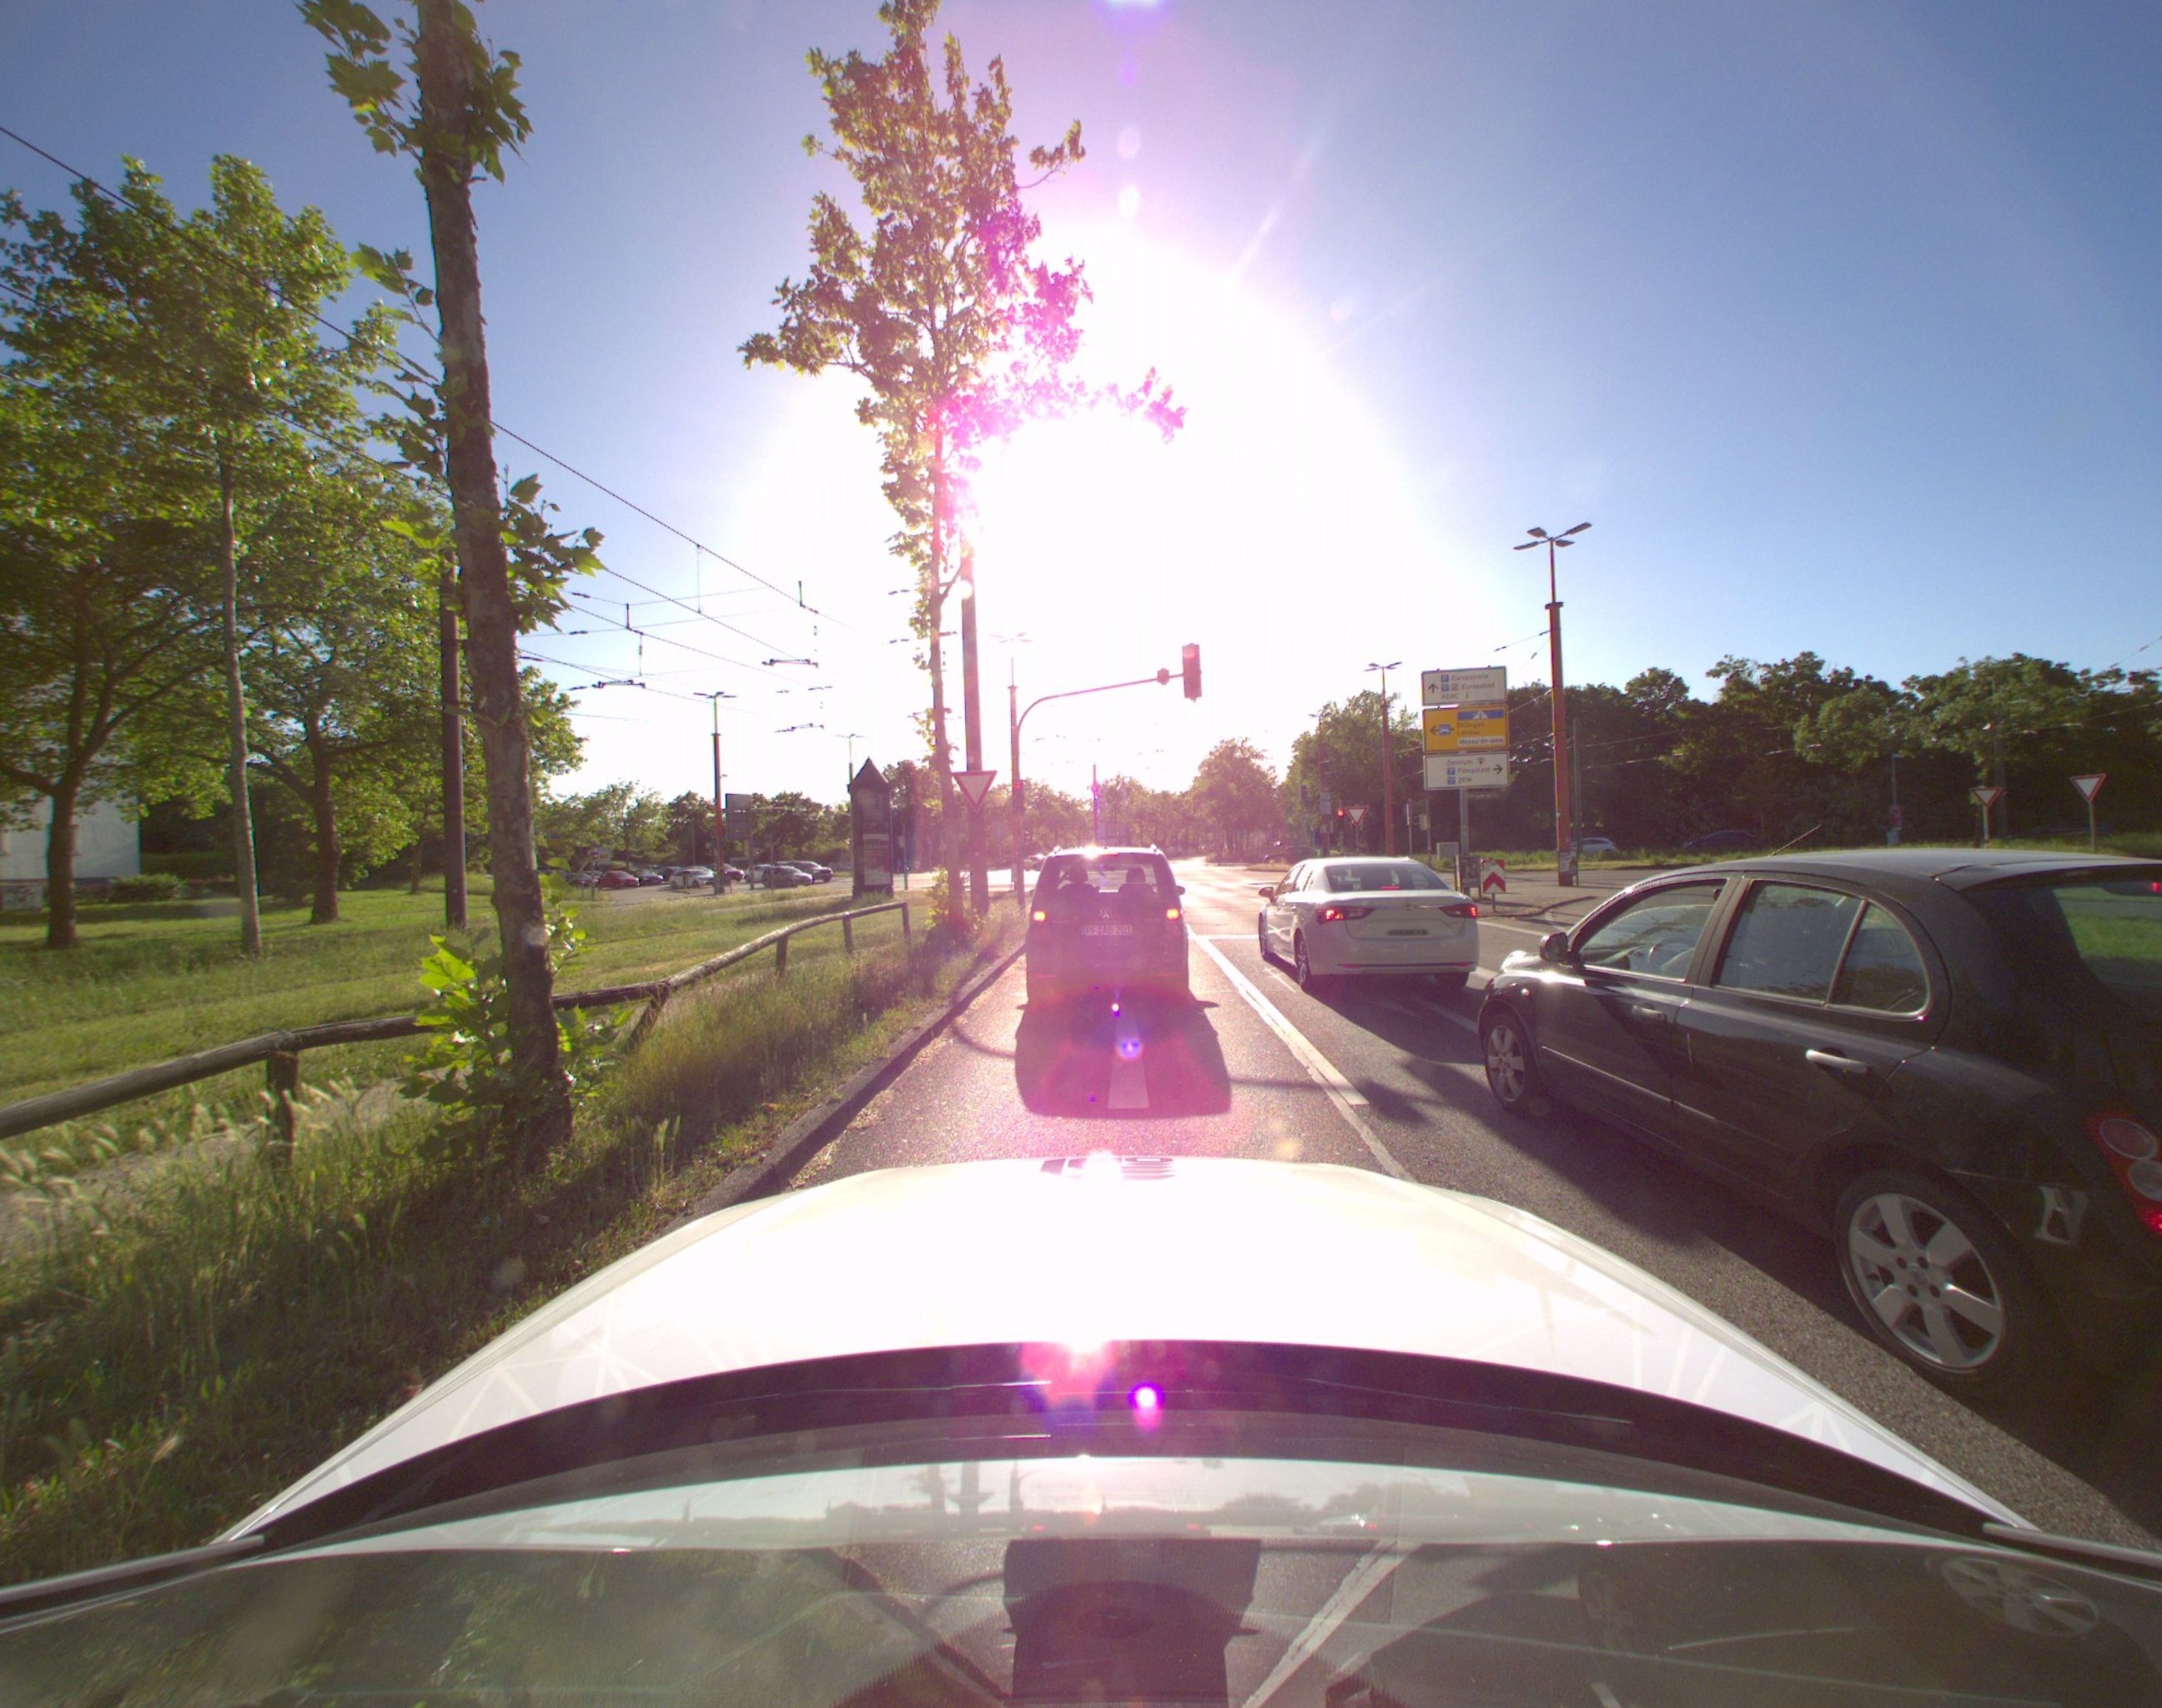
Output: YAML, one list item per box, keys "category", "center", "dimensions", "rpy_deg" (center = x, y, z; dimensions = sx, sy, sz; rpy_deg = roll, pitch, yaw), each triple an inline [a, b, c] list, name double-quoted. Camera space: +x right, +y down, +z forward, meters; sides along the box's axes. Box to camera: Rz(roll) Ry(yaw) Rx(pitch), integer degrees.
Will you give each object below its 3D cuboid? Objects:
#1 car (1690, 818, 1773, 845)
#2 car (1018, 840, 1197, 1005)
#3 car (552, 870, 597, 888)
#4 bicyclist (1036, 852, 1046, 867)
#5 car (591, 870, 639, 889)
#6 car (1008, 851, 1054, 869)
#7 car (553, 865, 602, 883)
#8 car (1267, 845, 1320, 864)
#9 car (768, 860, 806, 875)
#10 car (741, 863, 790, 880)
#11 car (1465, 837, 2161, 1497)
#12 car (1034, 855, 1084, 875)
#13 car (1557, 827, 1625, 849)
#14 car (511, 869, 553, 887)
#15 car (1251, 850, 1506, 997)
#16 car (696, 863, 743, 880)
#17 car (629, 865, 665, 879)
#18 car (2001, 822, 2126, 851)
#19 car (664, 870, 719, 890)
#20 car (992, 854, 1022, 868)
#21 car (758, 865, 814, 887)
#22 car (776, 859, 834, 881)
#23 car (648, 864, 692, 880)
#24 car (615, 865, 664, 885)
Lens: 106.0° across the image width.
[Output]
- category: "car"
  center: [40.065, -1.358, 50.260]
  dimensions: [3.755, 1.510, 1.667]
  rpy_deg: [-1, 0, 30]
- category: "car"
  center: [0.371, 0.684, 10.079]
  dimensions: [1.731, 1.602, 4.329]
  rpy_deg: [0, -1, 3]
- category: "car"
  center: [-44.579, 2.195, 71.601]
  dimensions: [4.145, 1.520, 1.667]
  rpy_deg: [-1, 0, 32]
- category: "bicyclist"
  center: [-5.242, 0.654, 105.764]
  dimensions: [0.969, 1.904, 1.055]
  rpy_deg: [-1, 0, 14]
- category: "car"
  center: [-38.887, 2.125, 67.915]
  dimensions: [4.145, 1.520, 1.667]
  rpy_deg: [-1, 0, 32]
- category: "car"
  center: [-4.863, 0.545, 78.798]
  dimensions: [4.164, 1.681, 1.667]
  rpy_deg: [-1, 0, 28]
- category: "car"
  center: [-47.921, 1.940, 77.549]
  dimensions: [4.585, 1.647, 1.767]
  rpy_deg: [-1, 0, 26]
- category: "car"
  center: [17.293, 0.044, 66.328]
  dimensions: [3.876, 1.457, 1.667]
  rpy_deg: [-1, 0, 31]
- category: "car"
  center: [-34.199, 1.580, 94.782]
  dimensions: [4.081, 1.750, 1.666]
  rpy_deg: [-1, 0, 24]
- category: "car"
  center: [-26.820, 1.513, 69.187]
  dimensions: [4.102, 1.415, 1.553]
  rpy_deg: [-1, 0, 28]
- category: "car"
  center: [3.184, 0.690, 3.485]
  dimensions: [1.570, 1.440, 3.443]
  rpy_deg: [0, -1, 2]
- category: "car"
  center: [-1.963, 1.007, 72.494]
  dimensions: [4.164, 1.681, 1.666]
  rpy_deg: [-1, 0, 26]
- category: "car"
  center: [35.345, -1.102, 56.590]
  dimensions: [3.877, 1.457, 1.667]
  rpy_deg: [-1, 0, 28]
- category: "car"
  center: [-50.962, 2.224, 75.565]
  dimensions: [4.145, 1.520, 1.667]
  rpy_deg: [-1, 0, 32]
- category: "car"
  center: [3.378, 0.705, 10.184]
  dimensions: [1.792, 1.440, 4.329]
  rpy_deg: [0, -1, 3]
- category: "car"
  center: [-32.004, 1.582, 72.100]
  dimensions: [4.102, 1.415, 1.553]
  rpy_deg: [-1, 0, 28]
- category: "car"
  center: [-53.607, 2.230, 100.562]
  dimensions: [4.616, 1.625, 1.667]
  rpy_deg: [-1, 0, 28]
- category: "car"
  center: [54.560, -0.941, 45.318]
  dimensions: [4.095, 1.510, 1.667]
  rpy_deg: [-1, 0, 30]
- category: "car"
  center: [-30.369, 2.021, 63.443]
  dimensions: [4.577, 1.520, 1.667]
  rpy_deg: [-1, 0, 32]
- category: "car"
  center: [-9.200, 0.852, 101.094]
  dimensions: [1.635, 1.750, 4.158]
  rpy_deg: [-1, 0, 29]
- category: "car"
  center: [-20.904, 1.569, 57.727]
  dimensions: [3.793, 1.441, 1.667]
  rpy_deg: [-1, 0, 29]
- category: "car"
  center: [-21.120, 1.241, 62.315]
  dimensions: [4.583, 1.647, 1.667]
  rpy_deg: [-1, 0, 32]
- category: "car"
  center: [-38.184, 1.654, 75.708]
  dimensions: [4.102, 1.415, 1.553]
  rpy_deg: [-1, 0, 28]
- category: "car"
  center: [-39.462, 1.889, 72.721]
  dimensions: [4.583, 1.647, 1.767]
  rpy_deg: [-1, 0, 32]
